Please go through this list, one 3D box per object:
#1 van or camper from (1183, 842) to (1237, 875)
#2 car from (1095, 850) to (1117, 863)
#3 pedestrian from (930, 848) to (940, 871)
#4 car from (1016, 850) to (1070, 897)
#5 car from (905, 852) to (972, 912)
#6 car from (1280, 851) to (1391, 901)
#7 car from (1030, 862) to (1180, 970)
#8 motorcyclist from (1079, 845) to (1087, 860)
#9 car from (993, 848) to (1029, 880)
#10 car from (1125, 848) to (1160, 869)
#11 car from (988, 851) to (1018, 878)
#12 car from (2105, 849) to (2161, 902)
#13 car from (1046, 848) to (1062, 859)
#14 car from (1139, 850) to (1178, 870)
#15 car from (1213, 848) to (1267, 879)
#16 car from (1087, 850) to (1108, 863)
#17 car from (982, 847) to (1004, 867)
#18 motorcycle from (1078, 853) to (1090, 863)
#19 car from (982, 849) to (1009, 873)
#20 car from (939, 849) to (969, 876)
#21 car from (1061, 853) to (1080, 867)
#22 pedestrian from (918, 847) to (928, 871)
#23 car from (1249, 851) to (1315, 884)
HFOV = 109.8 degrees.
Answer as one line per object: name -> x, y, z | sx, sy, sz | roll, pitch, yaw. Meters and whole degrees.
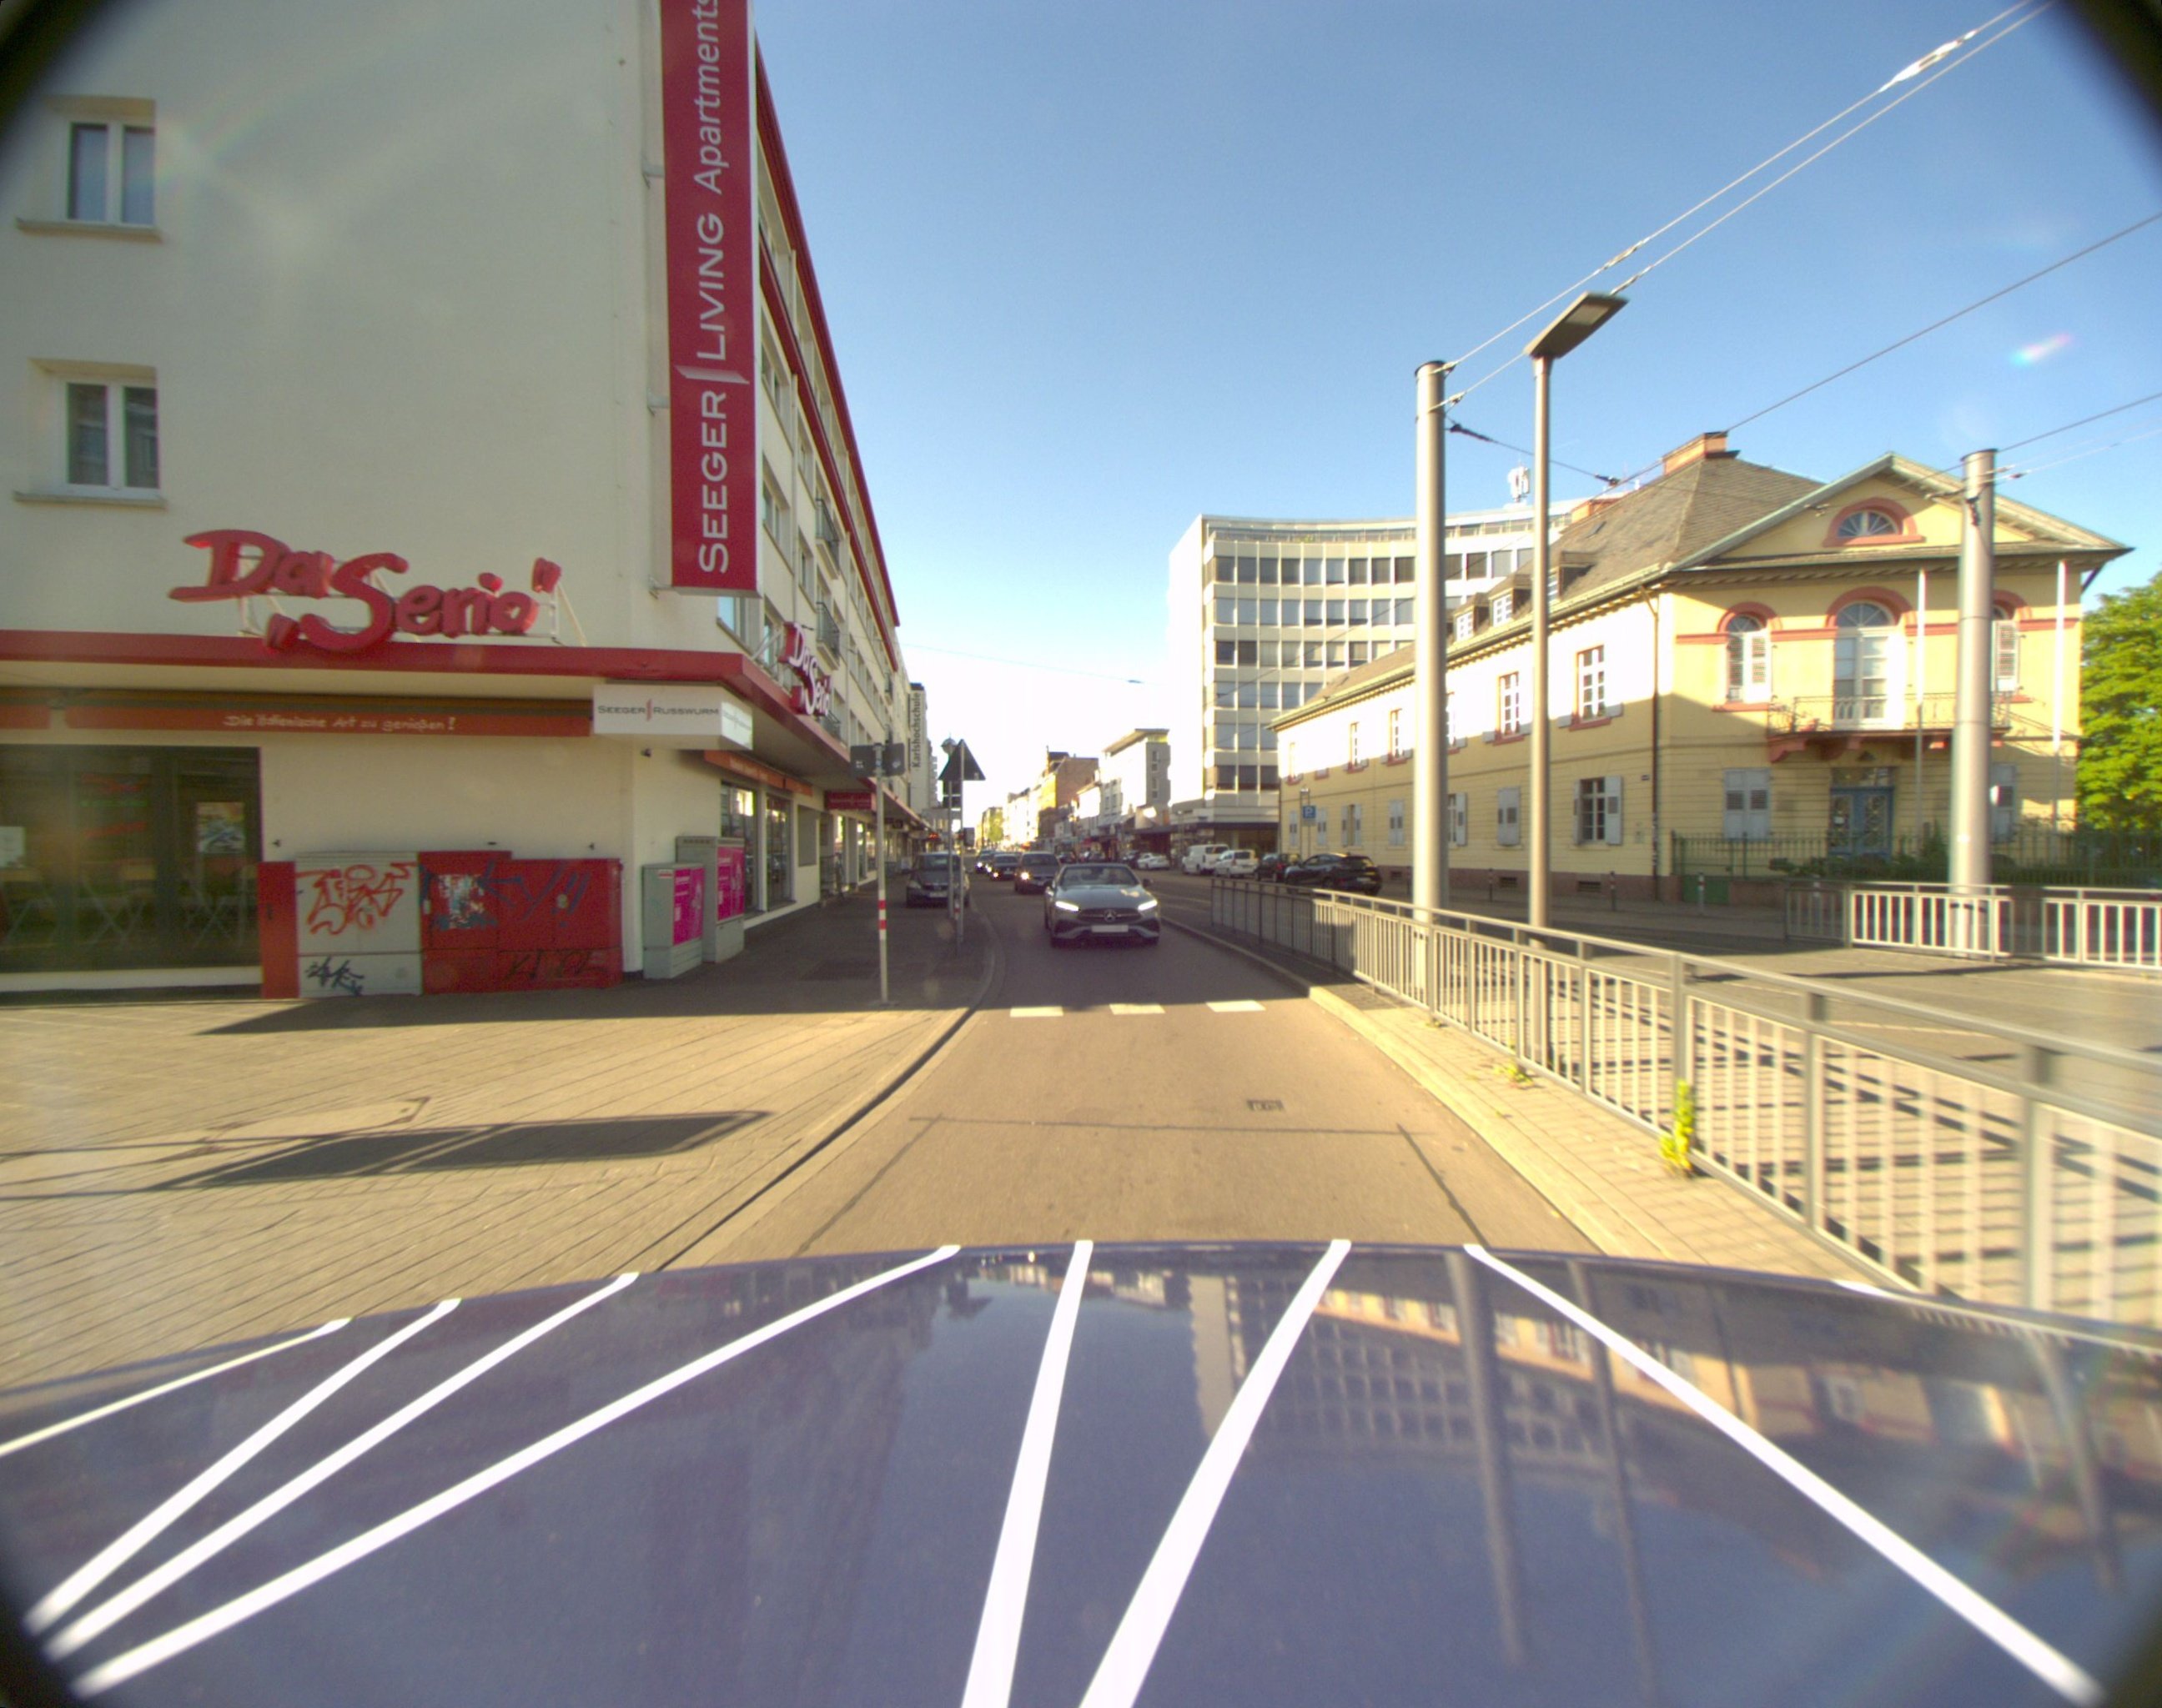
van or camper -> 8.315, 0.249, 49.595 | 1.961, 1.962, 4.792 | -2, 1, -10
car -> 2.840, 0.237, 86.017 | 1.787, 1.409, 3.593 | -1, 1, -10
pedestrian -> -11.607, 0.462, 60.409 | 0.739, 1.807, 0.748 | -1, 2, -11
car -> -1.557, 0.714, 29.744 | 1.739, 1.654, 3.957 | 1, 1, -8
car -> -4.178, 0.775, 22.773 | 1.782, 1.560, 3.957 | 1, 1, -8
car -> 8.811, 0.686, 26.680 | 1.691, 1.551, 4.116 | -1, 1, -15
car -> 0.220, 0.942, 13.630 | 1.870, 1.431, 4.770 | -1, 1, -8
motorcyclist -> 0.208, -0.167, 77.449 | 0.655, 1.550, 0.883 | -1, 2, -17
car -> -3.945, 0.542, 42.418 | 1.784, 1.654, 3.957 | 1, 1, -8
car -> 5.450, 0.373, 68.013 | 1.932, 1.633, 4.277 | -2, 1, -11
car -> -5.093, 0.640, 49.345 | 1.739, 1.654, 3.957 | 1, 1, -8
car -> 35.857, 0.700, 24.394 | 1.889, 1.660, 3.870 | 0, 1, 24
car -> -3.744, -0.112, 104.600 | 1.783, 1.500, 3.856 | 1, 0, -9
car -> 6.346, 0.454, 62.823 | 1.932, 1.444, 4.288 | -2, 1, -13
car -> 9.123, 0.489, 43.952 | 1.782, 1.611, 4.172 | -2, 1, -6
car -> 1.968, 0.261, 90.655 | 1.787, 1.511, 3.829 | -1, 1, -9
car -> -7.593, 0.225, 65.161 | 1.739, 1.654, 3.957 | 1, 1, -8
motorcycle -> 0.275, 0.386, 77.338 | 0.601, 0.921, 2.152 | -1, 1, -17
car -> -6.203, 0.482, 54.797 | 1.739, 1.654, 3.778 | 1, 1, -8
car -> -8.313, 0.526, 50.012 | 1.784, 1.654, 4.159 | 1, 1, -8
car -> -1.232, 0.659, 87.361 | 1.782, 1.500, 4.666 | 1, 0, -7
pedestrian -> -12.514, 0.391, 60.211 | 0.706, 1.807, 0.806 | -1, 2, -11
car -> 10.022, 0.638, 38.190 | 1.782, 1.431, 3.957 | -2, 1, -8
